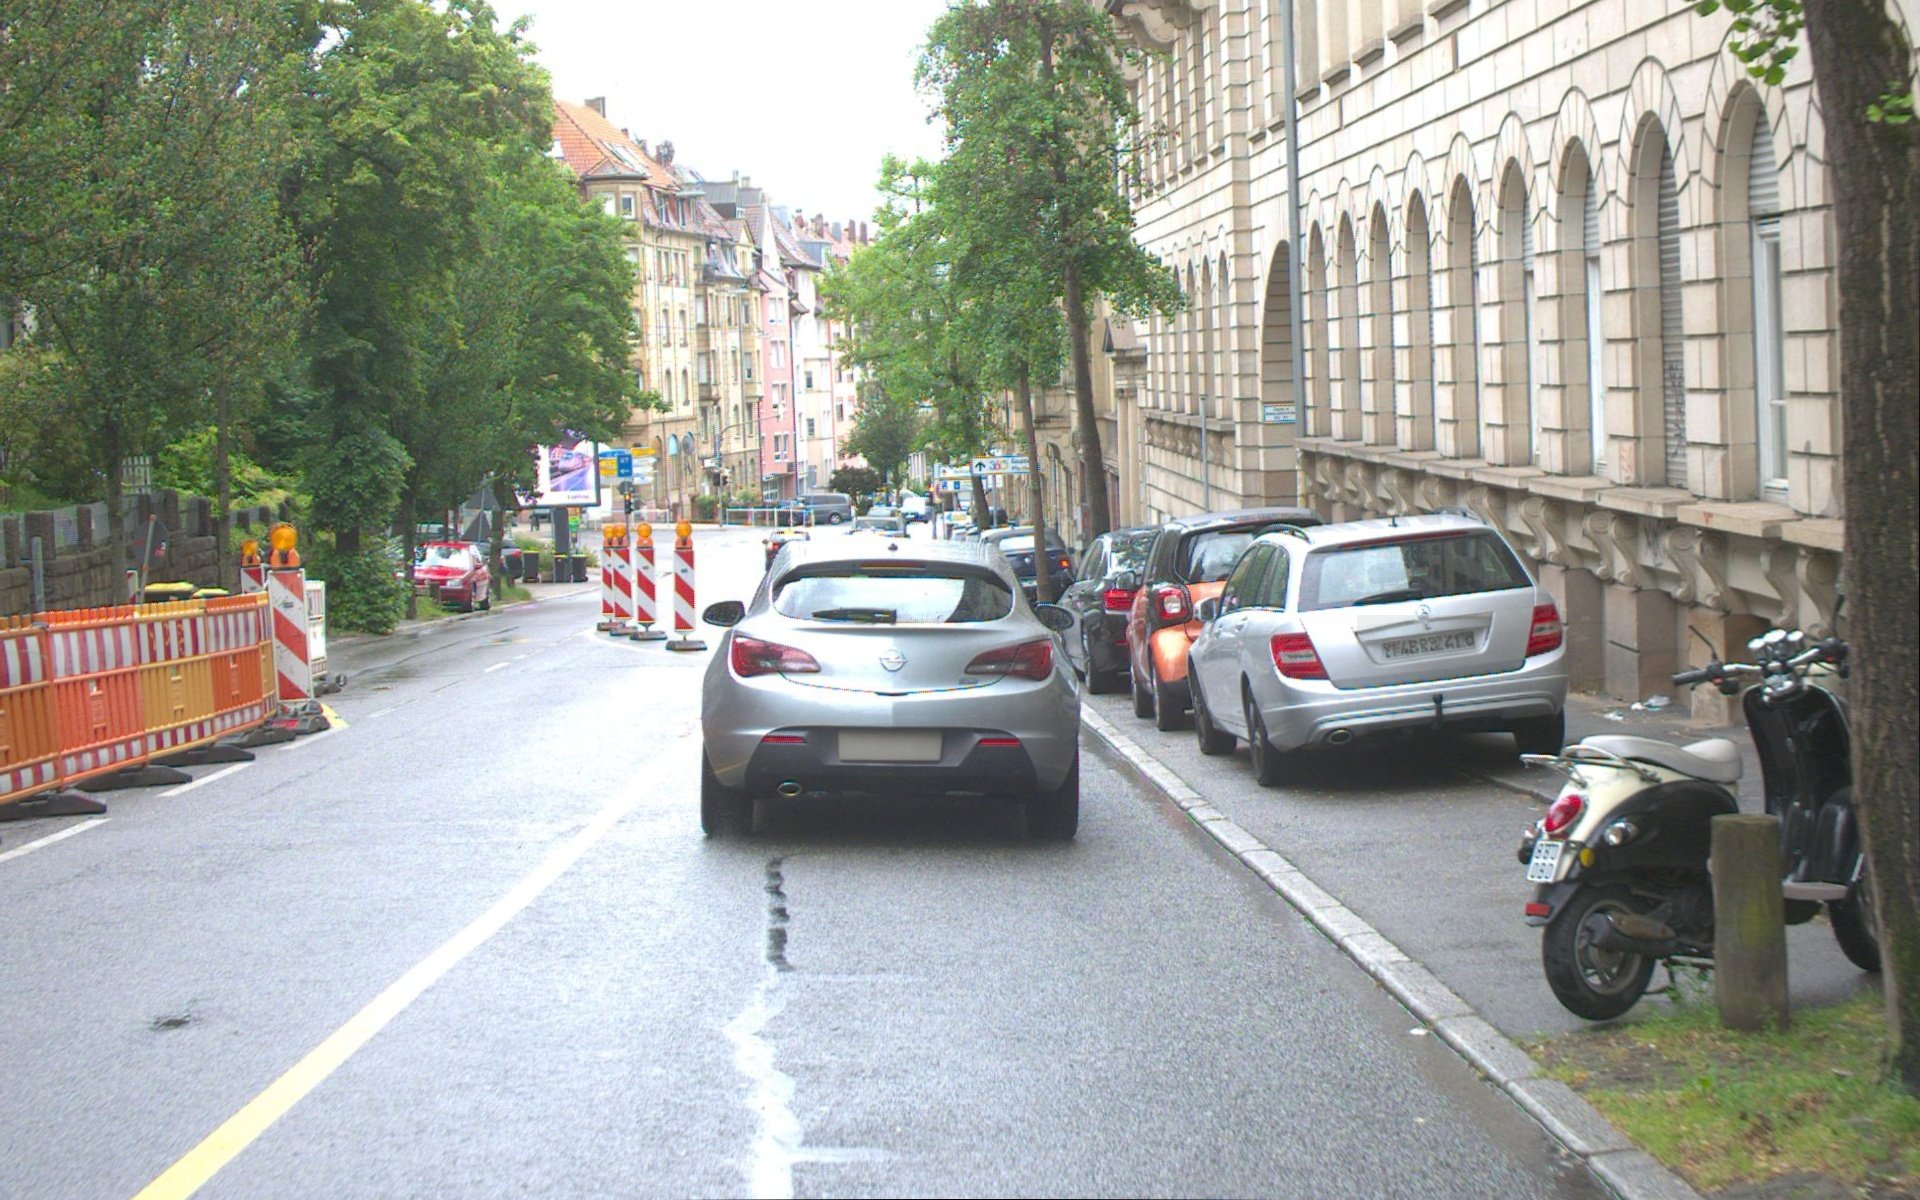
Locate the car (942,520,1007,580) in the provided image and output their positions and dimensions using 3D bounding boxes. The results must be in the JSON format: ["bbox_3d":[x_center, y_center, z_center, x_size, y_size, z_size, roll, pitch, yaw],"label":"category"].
[{"bbox_3d":[0.369,-1.381,93.462,1.637,1.519,3.858,-2,2,-1],"label":"car"}]

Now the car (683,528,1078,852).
[{"bbox_3d":[-0.353,0.373,17.715,1.811,1.444,3.869,0,2,0],"label":"car"}]

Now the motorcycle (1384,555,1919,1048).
[{"bbox_3d":[2.223,0.545,10.274,1.933,1.231,0.657,-5,3,-37],"label":"motorcycle"}]

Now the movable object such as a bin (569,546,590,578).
[{"bbox_3d":[-12.897,-1.291,116.471,0.658,1.055,0.627,1,1,-9],"label":"movable object such as a bin"}]

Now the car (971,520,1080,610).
[{"bbox_3d":[1.096,-0.624,58.625,1.637,1.424,3.377,-2,2,-2],"label":"car"}]

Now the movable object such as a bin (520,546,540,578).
[{"bbox_3d":[-14.435,-1.289,115.414,0.625,1.055,0.634,1,1,-7],"label":"movable object such as a bin"}]

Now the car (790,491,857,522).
[{"bbox_3d":[-8.210,-5.647,207.224,3.986,1.744,2.000,1,1,-1],"label":"car"}]

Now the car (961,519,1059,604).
[{"bbox_3d":[0.895,-0.741,63.787,1.637,1.464,3.858,-2,2,-1],"label":"car"}]

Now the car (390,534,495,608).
[{"bbox_3d":[-10.891,-0.632,72.580,1.637,1.434,4.080,-2,2,-1],"label":"car"}]

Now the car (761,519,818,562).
[{"bbox_3d":[-6.210,-2.174,125.052,1.993,1.495,4.001,-1,1,-3],"label":"car"}]

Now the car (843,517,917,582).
[{"bbox_3d":[-2.084,-1.312,88.488,1.656,1.537,3.666,-3,1,-4],"label":"car"}]

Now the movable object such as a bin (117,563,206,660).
[{"bbox_3d":[-10.226,0.141,44.045,0.945,1.210,0.856,0,2,0],"label":"movable object such as a bin"}]

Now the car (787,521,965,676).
[{"bbox_3d":[-0.845,-0.055,36.092,1.772,1.499,3.869,0,2,0],"label":"car"}]

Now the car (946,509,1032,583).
[{"bbox_3d":[0.636,-1.257,78.700,1.637,1.597,3.858,-2,2,-4],"label":"car"}]

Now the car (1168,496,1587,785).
[{"bbox_3d":[2.371,0.155,20.591,1.695,1.426,4.423,-4,2,-2],"label":"car"}]

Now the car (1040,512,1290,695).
[{"bbox_3d":[1.833,-0.030,32.137,1.757,1.456,4.724,-4,2,-2],"label":"car"}]

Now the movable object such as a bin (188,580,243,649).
[{"bbox_3d":[-10.049,0.191,46.427,0.604,0.904,0.624,0,2,0],"label":"movable object such as a bin"}]

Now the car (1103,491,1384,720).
[{"bbox_3d":[2.090,-0.005,26.102,1.638,1.515,3.184,-4,2,-2],"label":"car"}]

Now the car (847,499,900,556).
[{"bbox_3d":[-2.745,-2.334,109.788,1.656,1.776,3.666,0,1,-1],"label":"car"}]

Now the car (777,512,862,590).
[{"bbox_3d":[-2.991,-1.060,73.889,1.656,1.537,3.666,-3,1,-1],"label":"car"}]

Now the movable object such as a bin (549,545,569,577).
[{"bbox_3d":[-13.456,-1.316,115.363,0.625,1.055,0.721,1,1,-7],"label":"movable object such as a bin"}]

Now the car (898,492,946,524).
[{"bbox_3d":[-2.090,-5.072,190.392,1.994,1.678,3.999,1,1,9],"label":"car"}]

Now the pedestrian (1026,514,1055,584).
[{"bbox_3d":[2.160,-1.373,92.065,0.716,1.863,0.636,0,0,-1],"label":"pedestrian"}]
